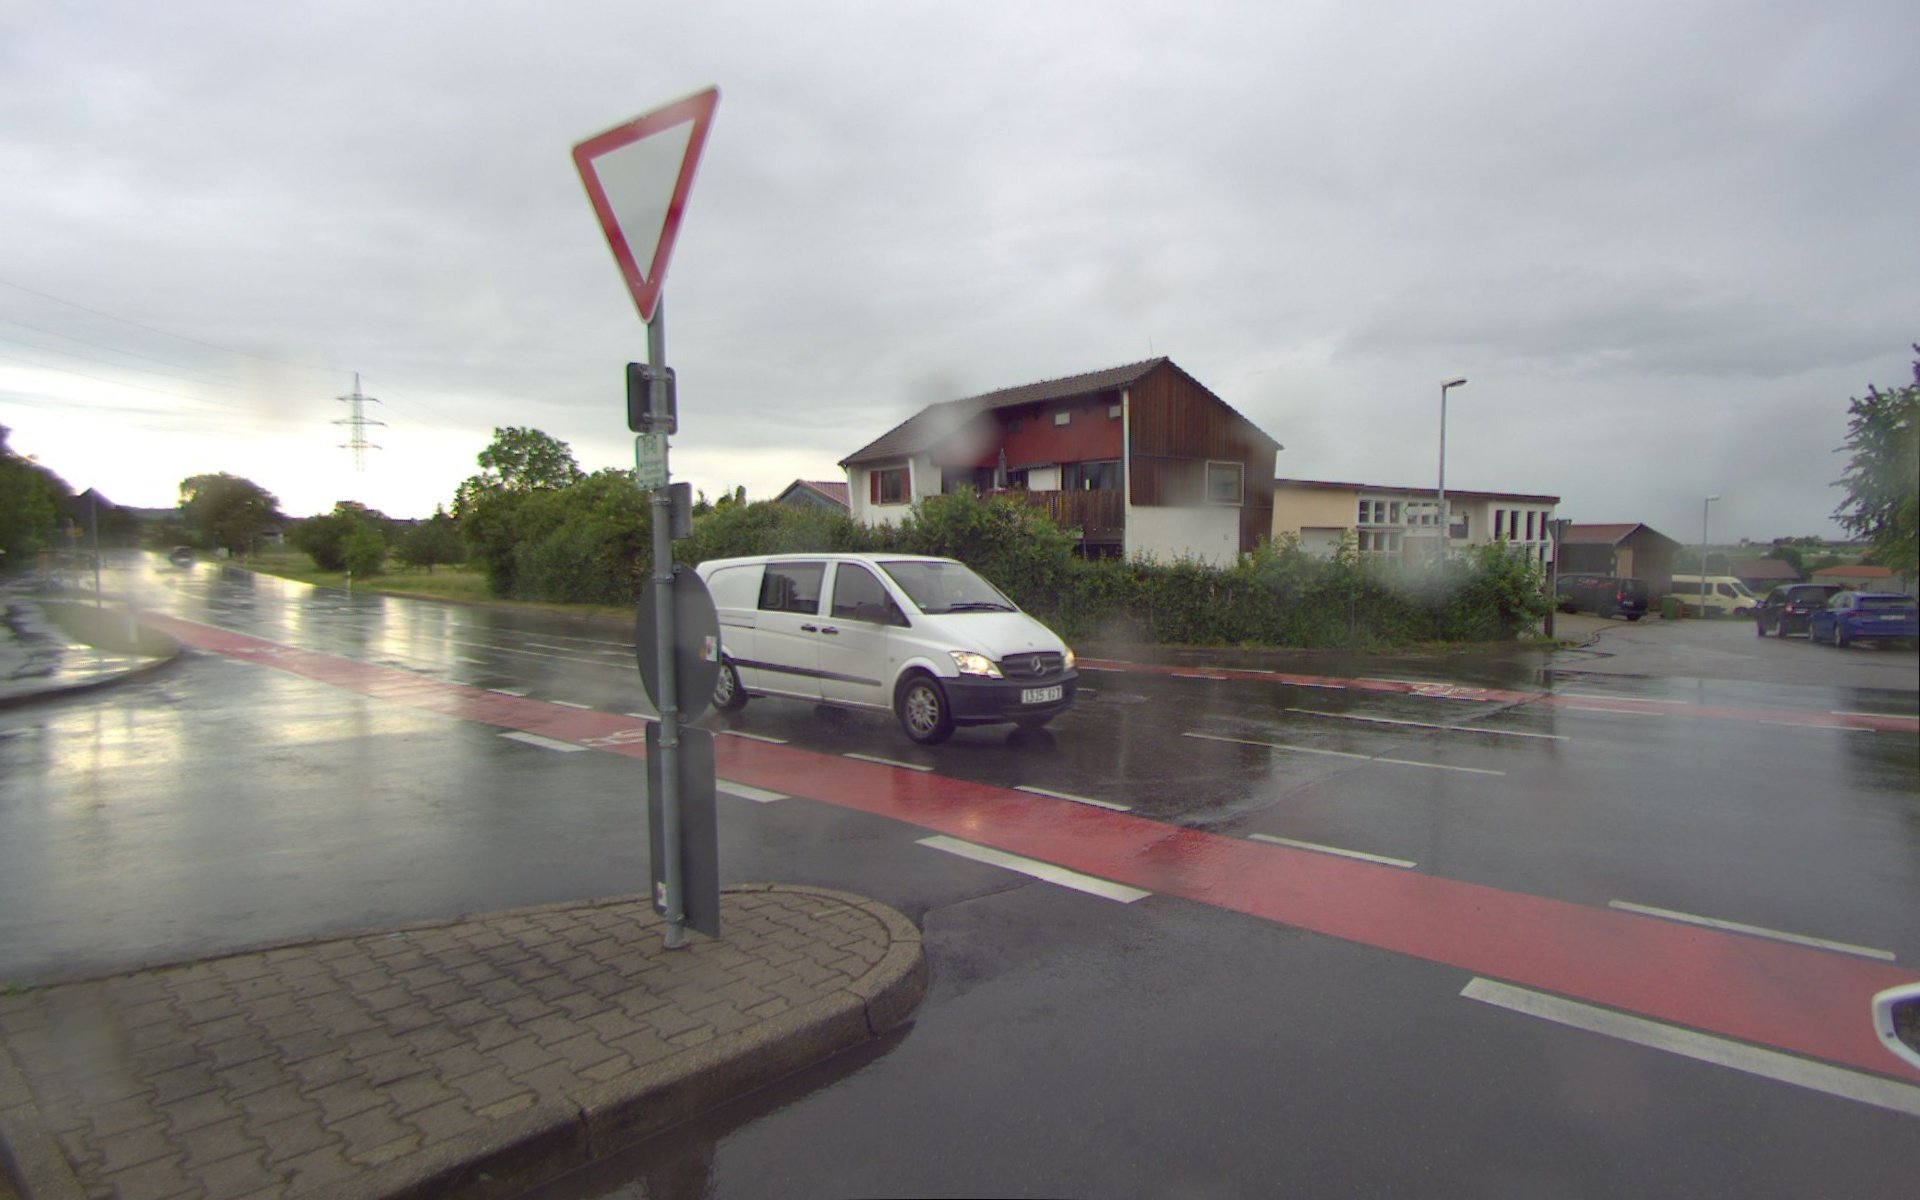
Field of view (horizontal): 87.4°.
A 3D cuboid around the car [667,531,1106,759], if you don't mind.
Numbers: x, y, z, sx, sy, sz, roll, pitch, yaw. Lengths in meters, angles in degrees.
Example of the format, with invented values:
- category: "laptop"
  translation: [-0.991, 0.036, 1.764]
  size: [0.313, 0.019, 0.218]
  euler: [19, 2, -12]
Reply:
- category: "car"
  translation: [-1.079, 0.348, 11.479]
  size: [5.295, 2.045, 1.894]
  euler: [2, 1, 42]

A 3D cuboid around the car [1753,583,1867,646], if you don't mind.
- category: "car"
  translation: [27.422, 0.420, 32.580]
  size: [2.044, 1.859, 4.461]
  euler: [1, 1, 30]

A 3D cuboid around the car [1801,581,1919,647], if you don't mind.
- category: "car"
  translation: [24.458, 0.344, 27.063]
  size: [1.923, 1.631, 4.439]
  euler: [1, 1, 29]

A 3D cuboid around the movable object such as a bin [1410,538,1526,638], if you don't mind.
- category: "movable object such as a bin"
  translation: [14.054, -0.321, 27.747]
  size: [3.313, 2.591, 1.718]
  euler: [1, 1, -41]

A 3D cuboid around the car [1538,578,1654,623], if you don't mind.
- category: "car"
  translation: [28.968, 0.004, 45.932]
  size: [1.965, 1.930, 4.399]
  euler: [1, 1, -12]

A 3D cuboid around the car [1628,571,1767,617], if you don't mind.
- category: "car"
  translation: [42.211, -0.362, 57.684]
  size: [2.438, 2.447, 5.971]
  euler: [1, 1, -34]
